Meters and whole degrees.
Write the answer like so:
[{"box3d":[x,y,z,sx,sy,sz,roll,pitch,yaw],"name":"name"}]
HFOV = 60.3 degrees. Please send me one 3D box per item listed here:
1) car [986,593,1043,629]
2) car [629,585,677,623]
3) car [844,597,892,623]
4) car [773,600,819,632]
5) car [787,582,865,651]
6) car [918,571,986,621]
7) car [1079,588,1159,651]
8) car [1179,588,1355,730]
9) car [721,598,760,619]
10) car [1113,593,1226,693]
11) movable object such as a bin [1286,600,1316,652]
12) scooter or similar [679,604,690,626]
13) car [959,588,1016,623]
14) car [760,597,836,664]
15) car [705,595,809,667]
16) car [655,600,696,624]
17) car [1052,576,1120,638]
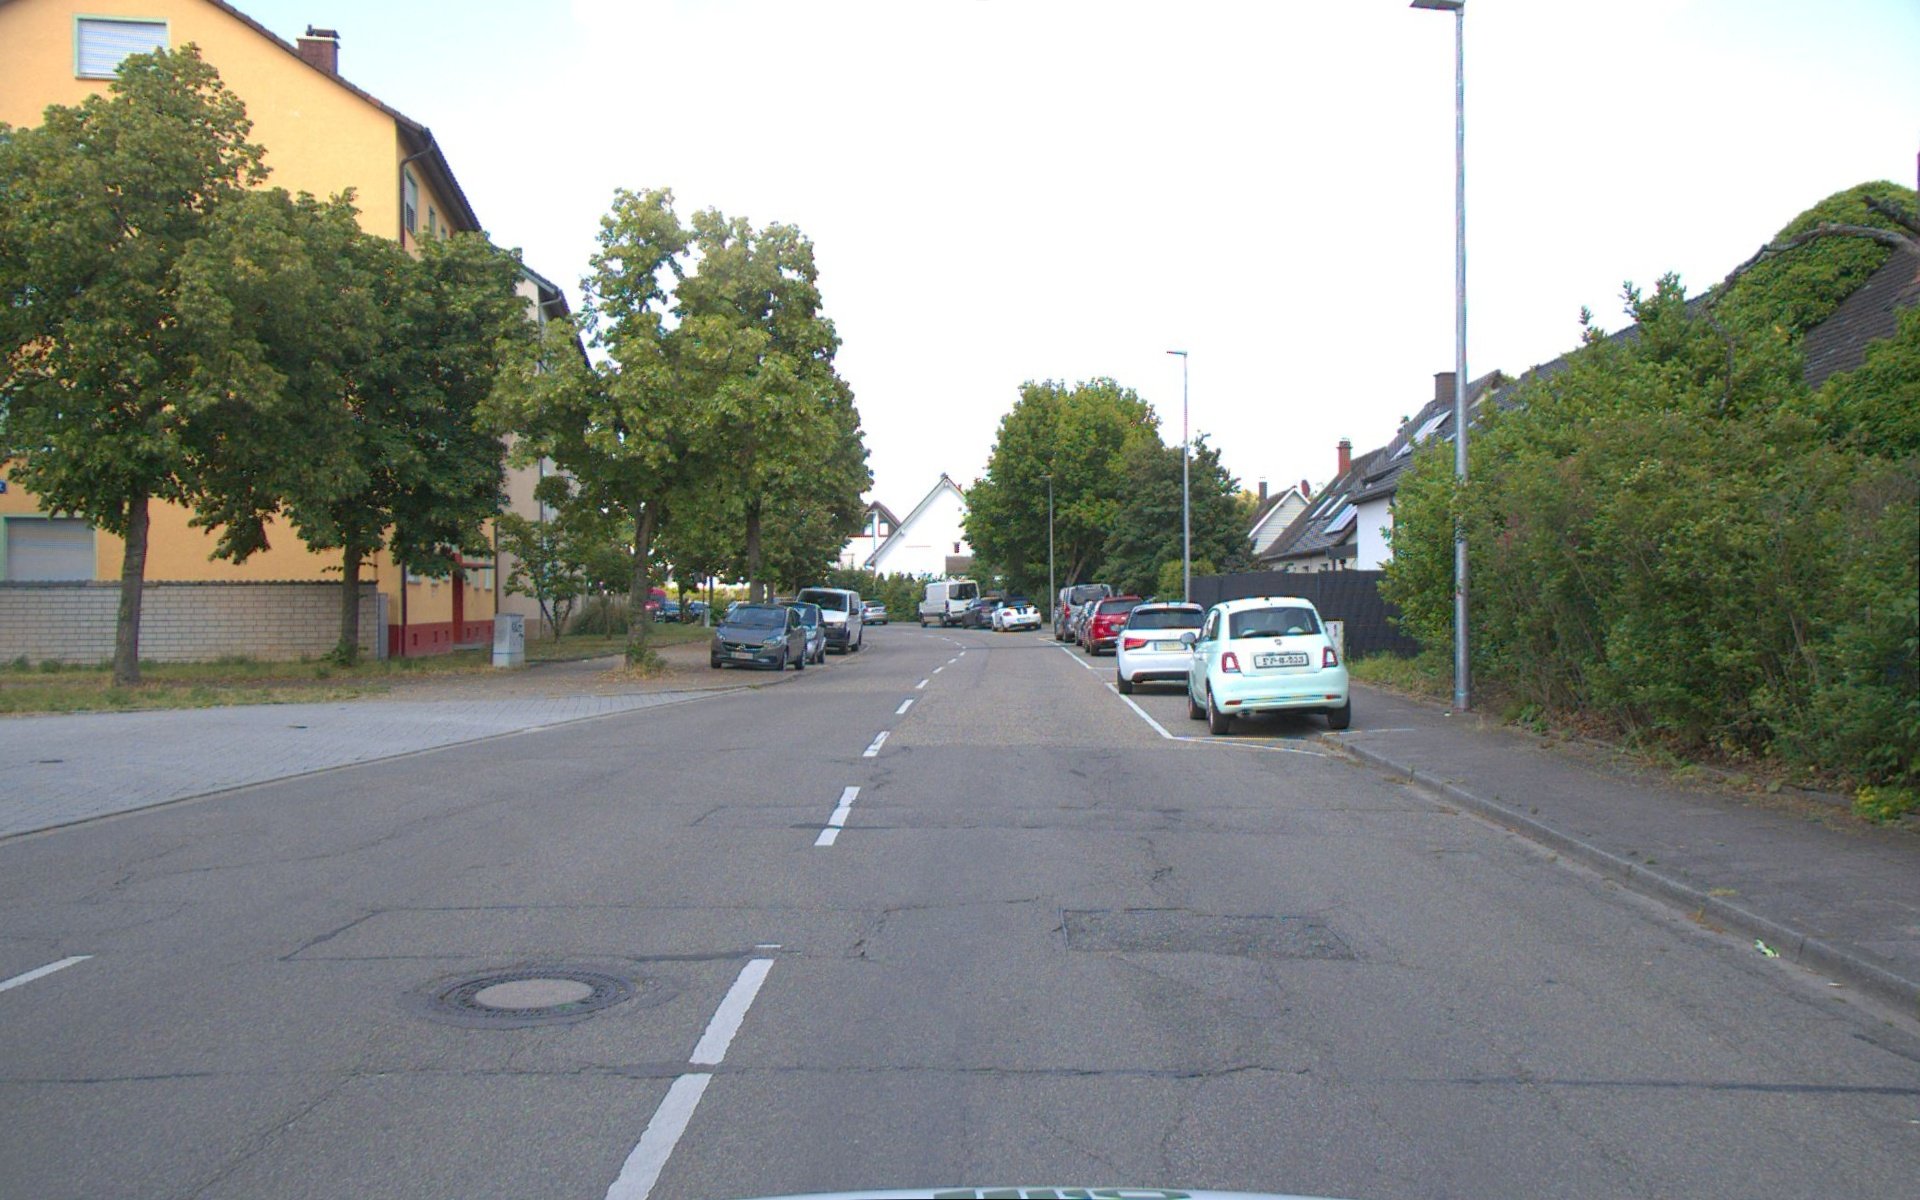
[{"box3d":[2.431,0.487,74.471,1.708,1.539,4.448,-1,0,-10],"name":"car"},{"box3d":[-21.572,0.294,115.971,2.035,2.544,5.800,3,-1,-22],"name":"car"},{"box3d":[-5.695,0.603,101.702,1.712,1.483,4.337,-1,0,-21],"name":"car"},{"box3d":[-7.877,0.741,79.225,1.804,1.464,4.081,1,0,-11],"name":"car"},{"box3d":[-4.179,0.474,52.281,1.840,2.044,5.323,1,1,2],"name":"car"},{"box3d":[-0.472,-0.216,87.484,2.083,2.483,5.868,-1,0,-16],"name":"car"},{"box3d":[4.287,0.489,45.175,1.811,1.607,4.734,-1,0,2],"name":"car"},{"box3d":[3.668,0.643,20.311,1.548,1.546,3.756,-1,0,2],"name":"car"},{"box3d":[-16.933,0.640,127.443,1.773,1.550,3.940,-1,0,-26],"name":"car"},{"box3d":[3.422,0.661,27.561,1.685,1.512,3.751,-1,0,5],"name":"car"},{"box3d":[7.103,0.544,34.474,0.505,1.057,0.630,-1,0,2],"name":"movable object such as a bin"},{"box3d":[-15.149,0.829,90.958,0.413,1.186,1.134,0,0,-20],"name":"scooter or similar"},{"box3d":[1.314,0.270,81.315,1.689,1.613,4.106,-1,0,-16],"name":"car"},{"box3d":[-4.278,0.769,44.077,1.486,1.576,3.756,4,1,1],"name":"car"},{"box3d":[-4.581,0.713,37.783,1.648,1.512,3.985,1,-1,3],"name":"car"},{"box3d":[-18.919,0.813,109.918,1.762,1.483,4.404,3,-2,-22],"name":"car"},{"box3d":[4.388,0.212,58.235,1.805,1.978,4.874,-4,0,-2],"name":"car"}]
